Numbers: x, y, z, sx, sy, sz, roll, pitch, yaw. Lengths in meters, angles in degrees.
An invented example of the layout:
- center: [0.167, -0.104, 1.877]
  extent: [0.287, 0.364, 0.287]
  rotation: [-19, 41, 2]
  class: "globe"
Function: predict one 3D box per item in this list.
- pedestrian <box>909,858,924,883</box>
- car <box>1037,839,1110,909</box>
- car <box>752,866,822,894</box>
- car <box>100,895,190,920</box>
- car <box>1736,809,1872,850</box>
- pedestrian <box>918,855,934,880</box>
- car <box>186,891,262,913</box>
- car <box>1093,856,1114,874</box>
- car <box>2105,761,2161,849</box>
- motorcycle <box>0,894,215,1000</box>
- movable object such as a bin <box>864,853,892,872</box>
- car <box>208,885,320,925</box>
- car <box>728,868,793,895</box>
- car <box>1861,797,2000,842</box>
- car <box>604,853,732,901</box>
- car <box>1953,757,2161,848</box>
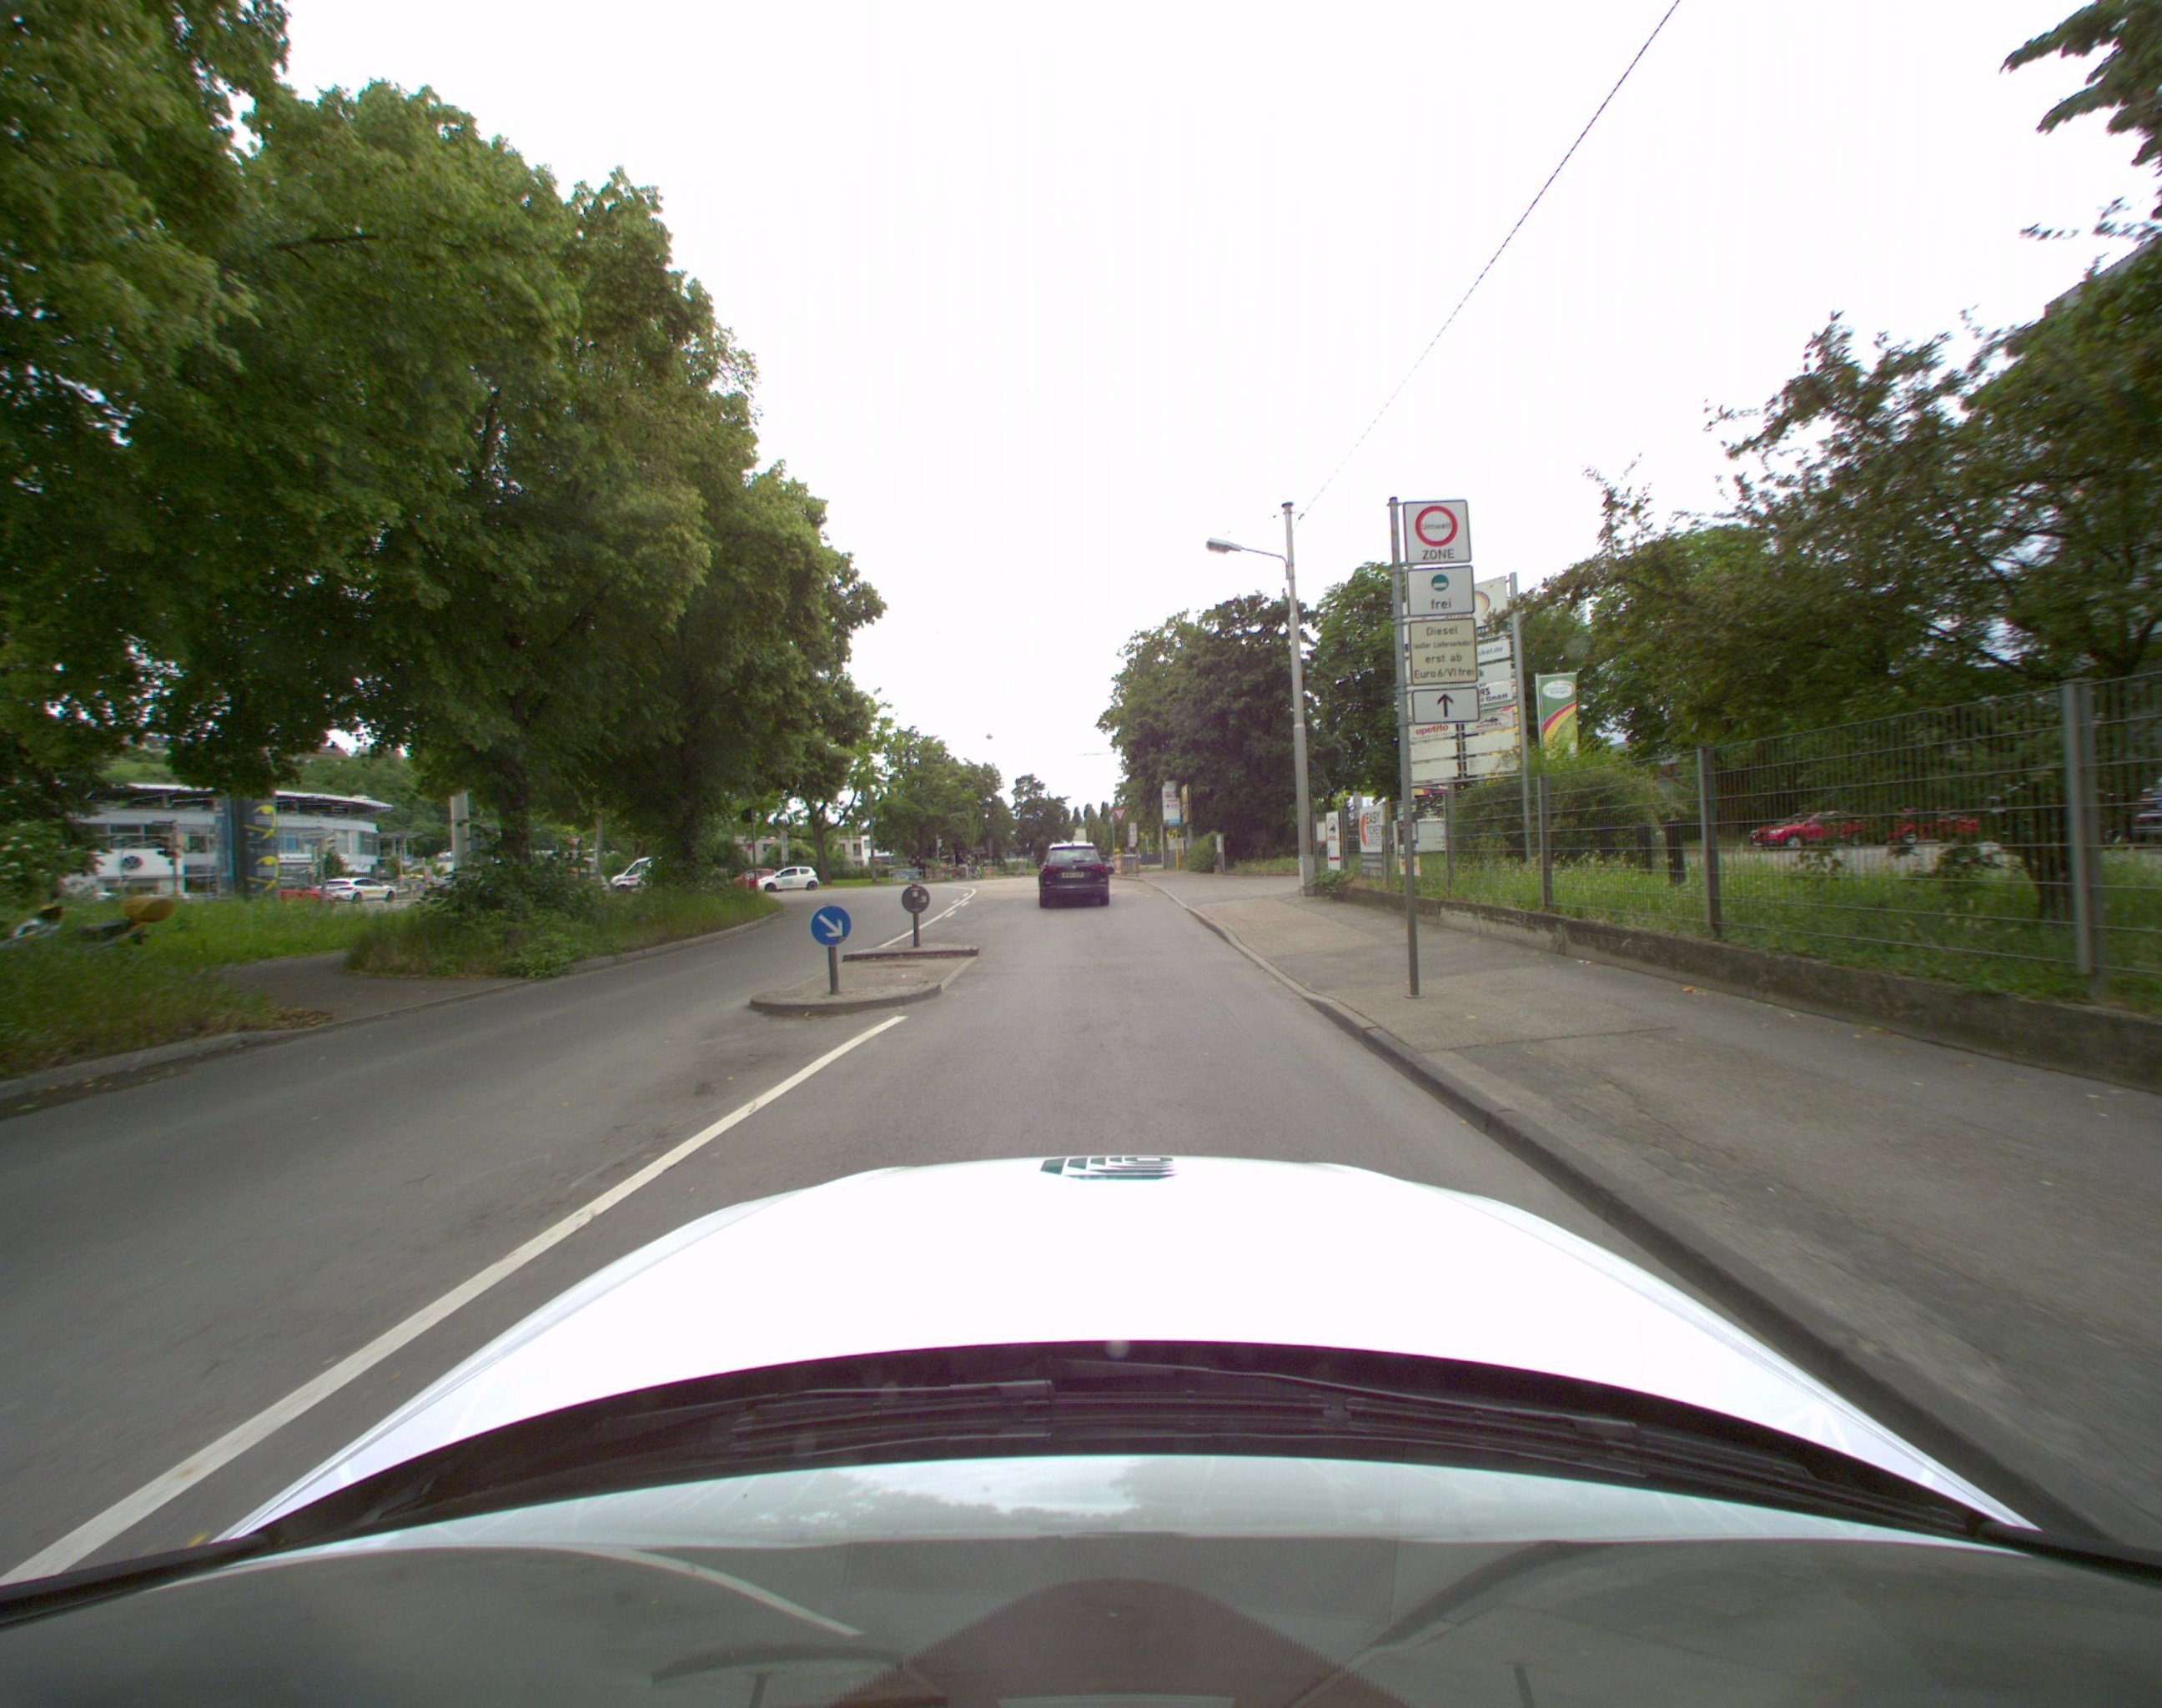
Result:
- center: [-11.750, 1.190, 58.170]
  extent: [0.734, 1.742, 0.732]
  rotation: [-3, 0, 41]
  class: "pedestrian"
- center: [-0.243, 0.460, 21.916]
  extent: [1.734, 1.617, 3.639]
  rotation: [-2, 2, -2]
  class: "car"
- center: [-17.343, 1.511, 48.099]
  extent: [3.626, 1.409, 1.725]
  rotation: [-3, 0, -28]
  class: "car"
- center: [-79.676, 4.510, 69.400]
  extent: [4.510, 1.692, 1.984]
  rotation: [-3, 0, -25]
  class: "car"
- center: [31.929, -1.052, 36.066]
  extent: [4.208, 1.543, 1.833]
  rotation: [-3, 0, 5]
  class: "car"
- center: [-11.194, 0.997, 58.768]
  extent: [0.734, 1.742, 0.732]
  rotation: [-3, 0, 41]
  class: "pedestrian"
- center: [-81.845, 4.606, 77.894]
  extent: [4.510, 1.692, 1.984]
  rotation: [-3, 0, -25]
  class: "car"
- center: [2.237, 1.067, 80.571]
  extent: [1.650, 1.574, 3.835]
  rotation: [-3, 0, 6]
  class: "car"
- center: [20.645, -0.948, 13.939]
  extent: [3.682, 1.534, 1.833]
  rotation: [-3, 0, 5]
  class: "car"
- center: [-13.178, 1.200, 11.029]
  extent: [0.563, 1.168, 2.038]
  rotation: [-3, 0, 4]
  class: "motorcycle"
- center: [-23.494, 1.005, 94.309]
  extent: [1.976, 2.013, 2.412]
  rotation: [-3, 0, 22]
  class: "movable object such as a bin"
- center: [-33.032, 2.036, 32.989]
  extent: [1.543, 1.349, 2.898]
  rotation: [-3, 0, 32]
  class: "car"
- center: [-19.984, 1.690, 50.848]
  extent: [3.392, 1.478, 1.636]
  rotation: [-3, 0, -9]
  class: "car"
- center: [37.066, -1.485, 35.614]
  extent: [3.927, 1.684, 1.833]
  rotation: [-3, 0, 5]
  class: "car"
- center: [-23.834, 1.282, 47.255]
  extent: [6.063, 2.387, 2.389]
  rotation: [-3, 0, -7]
  class: "car"
- center: [20.968, -1.050, 16.844]
  extent: [3.682, 1.674, 1.861]
  rotation: [-3, 0, 5]
  class: "car"
